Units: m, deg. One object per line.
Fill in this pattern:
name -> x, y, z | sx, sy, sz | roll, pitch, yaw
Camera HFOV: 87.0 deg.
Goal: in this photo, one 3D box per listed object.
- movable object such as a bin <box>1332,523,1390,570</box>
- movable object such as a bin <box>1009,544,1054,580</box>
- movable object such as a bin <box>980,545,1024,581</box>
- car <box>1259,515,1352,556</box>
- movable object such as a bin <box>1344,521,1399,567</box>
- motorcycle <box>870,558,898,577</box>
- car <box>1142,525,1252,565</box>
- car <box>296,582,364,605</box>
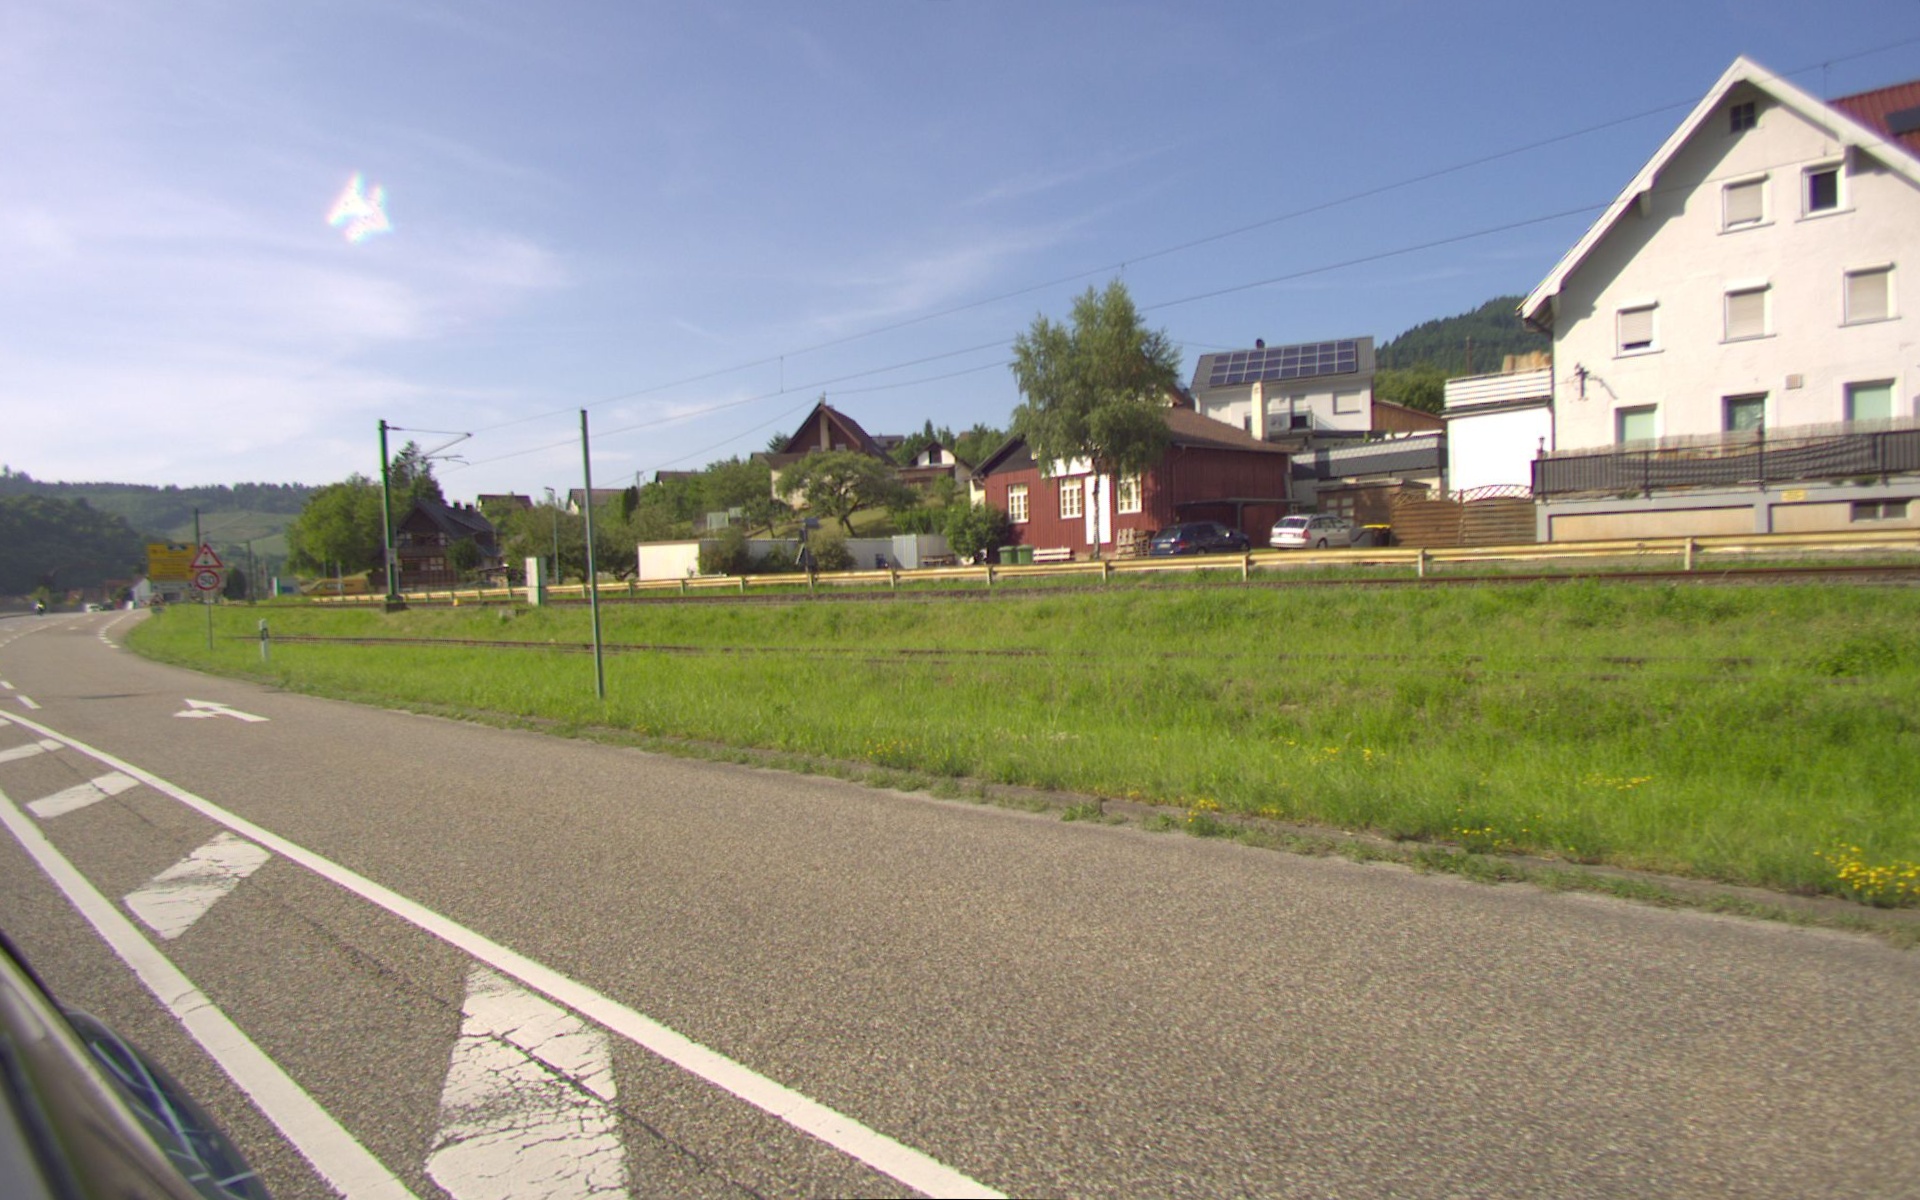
movable object such as a bin -> 10.924, -1.461, 27.556 | 1.142, 1.200, 1.079 | -1, 2, 41
movable object such as a bin -> 2.496, -1.338, 35.398 | 1.091, 1.200, 1.130 | -2, 2, 35
movable object such as a bin -> 1.508, -1.312, 36.131 | 1.091, 1.200, 1.130 | -2, 2, 35
car -> 12.763, -2.379, 37.226 | 1.754, 1.339, 4.209 | -2, 2, 41
movable object such as a bin -> 11.593, -1.576, 28.498 | 1.142, 1.200, 1.079 | -1, 2, 41
motorcycle -> -4.577, -1.960, 61.126 | 0.655, 1.000, 1.744 | -5, 2, -44
car -> 8.553, -1.994, 36.440 | 4.044, 1.280, 1.739 | -4, 2, -40
car -> -80.287, -0.812, 129.156 | 6.966, 2.475, 2.958 | -4, 2, -27
